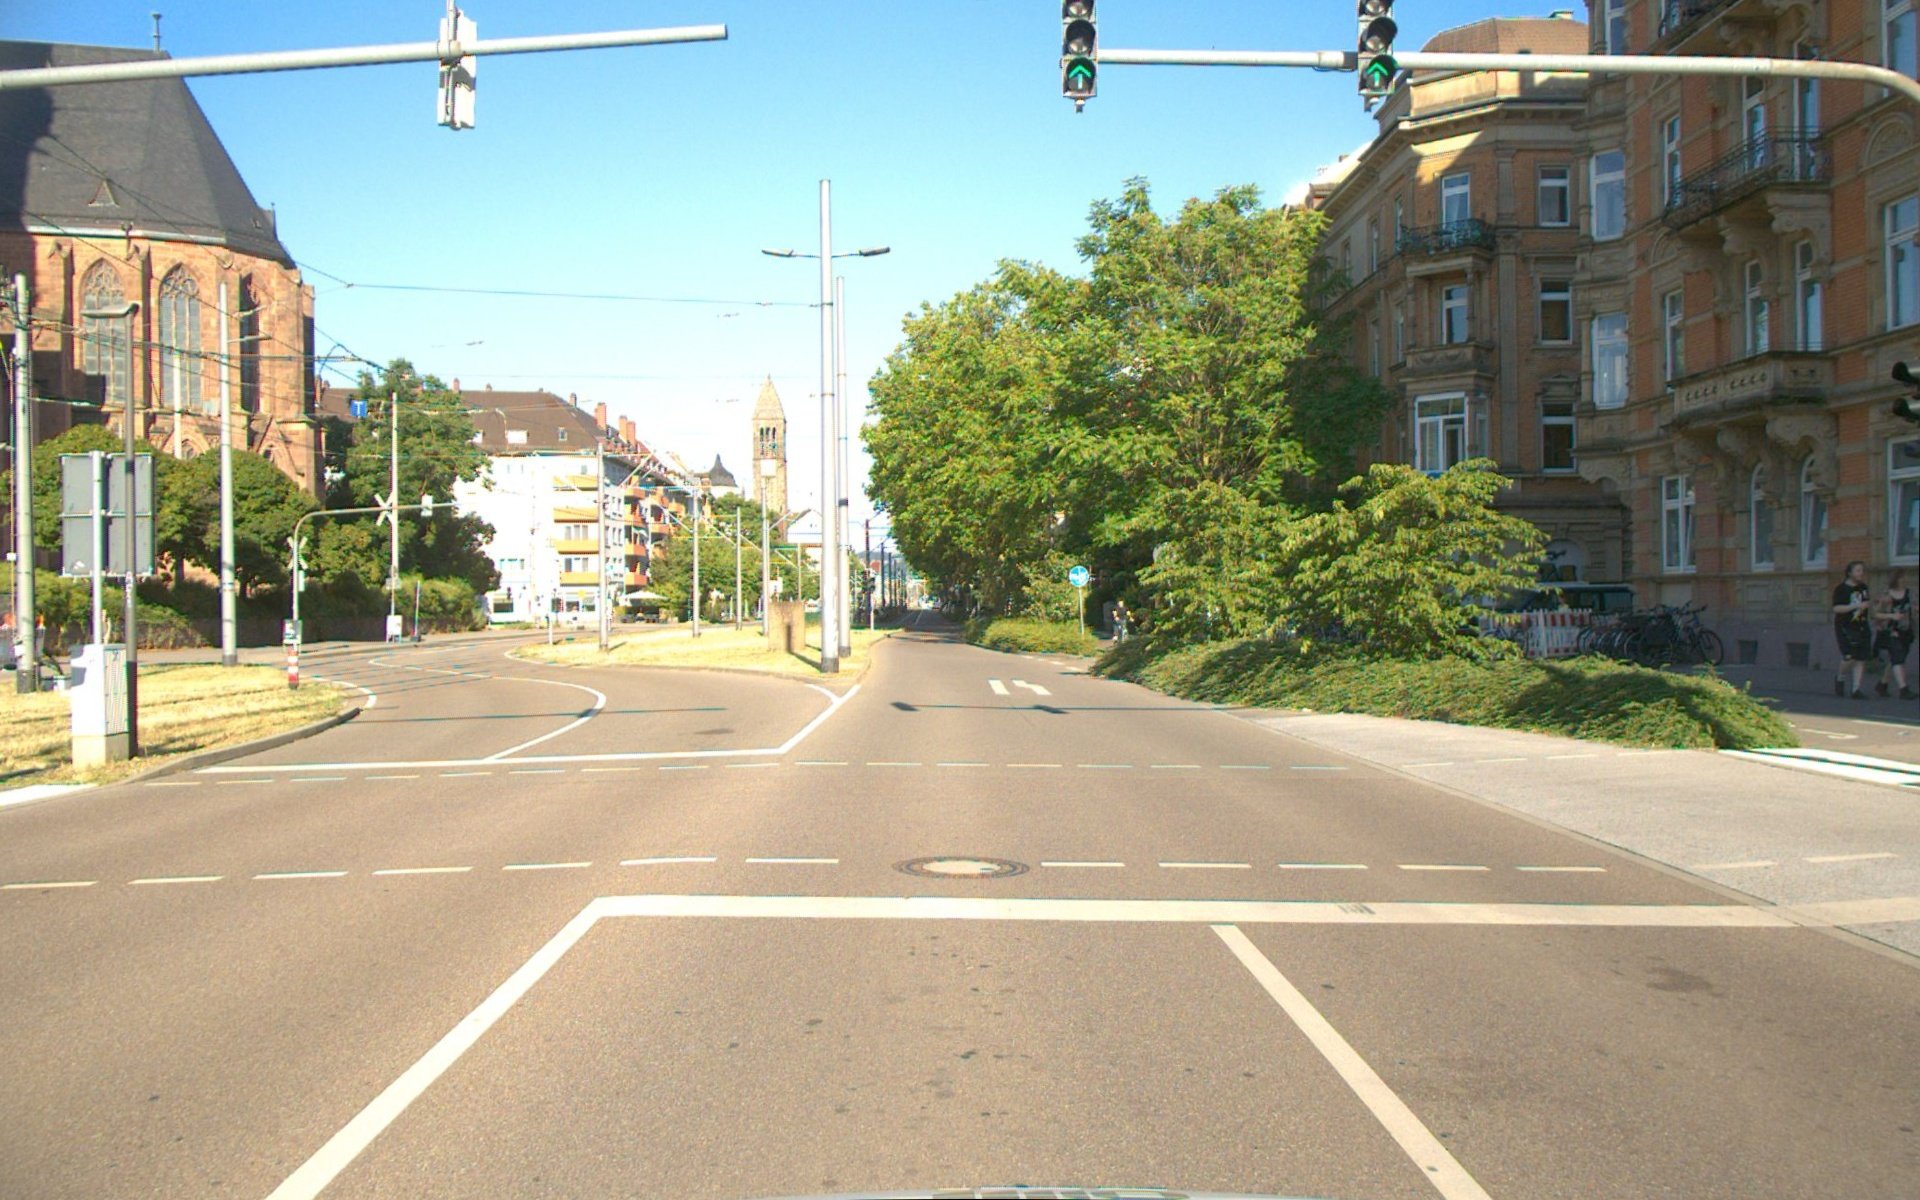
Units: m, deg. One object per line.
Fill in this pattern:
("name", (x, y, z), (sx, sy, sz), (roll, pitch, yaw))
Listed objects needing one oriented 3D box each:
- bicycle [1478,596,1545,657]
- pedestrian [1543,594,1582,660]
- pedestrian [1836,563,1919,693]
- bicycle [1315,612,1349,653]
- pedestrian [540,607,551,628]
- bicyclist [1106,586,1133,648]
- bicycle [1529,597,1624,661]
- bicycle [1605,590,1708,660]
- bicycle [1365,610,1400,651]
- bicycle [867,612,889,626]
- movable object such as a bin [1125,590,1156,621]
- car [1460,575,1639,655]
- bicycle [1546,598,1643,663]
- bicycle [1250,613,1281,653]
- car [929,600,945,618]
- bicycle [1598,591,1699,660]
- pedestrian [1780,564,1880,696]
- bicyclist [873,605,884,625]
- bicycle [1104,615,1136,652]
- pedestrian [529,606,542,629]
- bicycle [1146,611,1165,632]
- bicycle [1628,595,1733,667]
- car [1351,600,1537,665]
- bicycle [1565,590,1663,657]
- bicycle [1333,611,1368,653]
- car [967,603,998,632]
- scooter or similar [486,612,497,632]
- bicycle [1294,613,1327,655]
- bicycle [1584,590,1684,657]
("bicycle", (11.852, 0.587, 35.599), (0.480, 1.260, 1.884), (-2, -1, -10))
("pedestrian", (14.601, 0.654, 40.056), (0.689, 1.561, 0.658), (-1, 0, 40))
("pedestrian", (12.319, 0.361, 21.995), (0.688, 1.685, 1.136), (-1, 0, -1))
("bicycle", (10.748, 0.931, 47.847), (0.507, 1.066, 1.820), (-2, 3, -2))
("pedestrian", (-30.456, 1.309, 121.514), (0.577, 1.493, 0.916), (-2, 2, -1))
("bicyclist", (4.852, 0.531, 50.431), (0.628, 1.846, 1.052), (-2, -1, -2))
("bicycle", (12.864, 0.602, 34.525), (1.851, 1.260, 0.489), (-2, -2, -14))
("bicycle", (13.366, 0.478, 31.725), (1.851, 1.260, 0.489), (-2, -2, -14))
("bicycle", (12.413, 0.881, 48.614), (0.507, 1.066, 1.820), (-2, 3, -2))
("bicycle", (-6.814, 1.581, 137.392), (1.781, 1.066, 0.572), (-2, 2, -10))
("movable object such as a bin", (8.438, 0.252, 77.452), (1.207, 1.406, 1.257), (-2, 0, -2))
("car", (16.808, 0.412, 47.290), (4.485, 2.161, 1.775), (-1, 2, -3))
("bicycle", (13.020, 0.624, 33.943), (1.851, 1.260, 0.489), (-2, -2, -14))
("bicycle", (9.005, 0.967, 48.841), (0.507, 1.066, 1.820), (-2, 3, -2))
("car", (-2.818, 1.162, 205.591), (1.953, 2.144, 3.999), (1, -1, -1))
("bicycle", (13.466, 0.493, 32.345), (1.851, 1.260, 0.489), (-2, -2, -14))
("pedestrian", (11.551, 0.388, 21.989), (0.688, 1.685, 1.136), (-1, 0, -1))
("bicyclist", (-6.773, 1.224, 137.386), (0.735, 1.585, 0.572), (-2, 2, -9))
("bicycle", (4.869, 1.027, 50.454), (0.628, 1.066, 2.359), (-2, -1, -2))
("pedestrian", (-31.186, 1.267, 121.486), (0.631, 1.626, 0.898), (-2, 2, -1))
("bicycle", (8.649, 0.942, 73.108), (0.753, 0.869, 0.375), (-2, 2, -4))
("bicycle", (13.591, 0.585, 31.189), (1.851, 1.260, 0.489), (-2, -2, -14))
("car", (12.199, 0.807, 41.878), (4.165, 1.440, 1.813), (-2, 2, -2))
("bicycle", (13.204, 0.478, 33.401), (1.851, 1.260, 0.489), (-2, -2, -14))
("bicycle", (11.287, 0.910, 47.884), (0.507, 1.066, 1.820), (-2, 3, -2))
("car", (1.289, 1.003, 95.708), (1.610, 1.537, 4.182), (-2, 0, -1))
("scooter or similar", (-32.112, 1.513, 113.429), (0.393, 1.283, 1.231), (-2, 2, -1))
("bicycle", (10.121, 0.976, 47.825), (0.507, 1.066, 1.820), (-2, 3, -2))
("bicycle", (13.422, 0.466, 32.932), (1.851, 1.260, 0.489), (-2, -2, -14))
